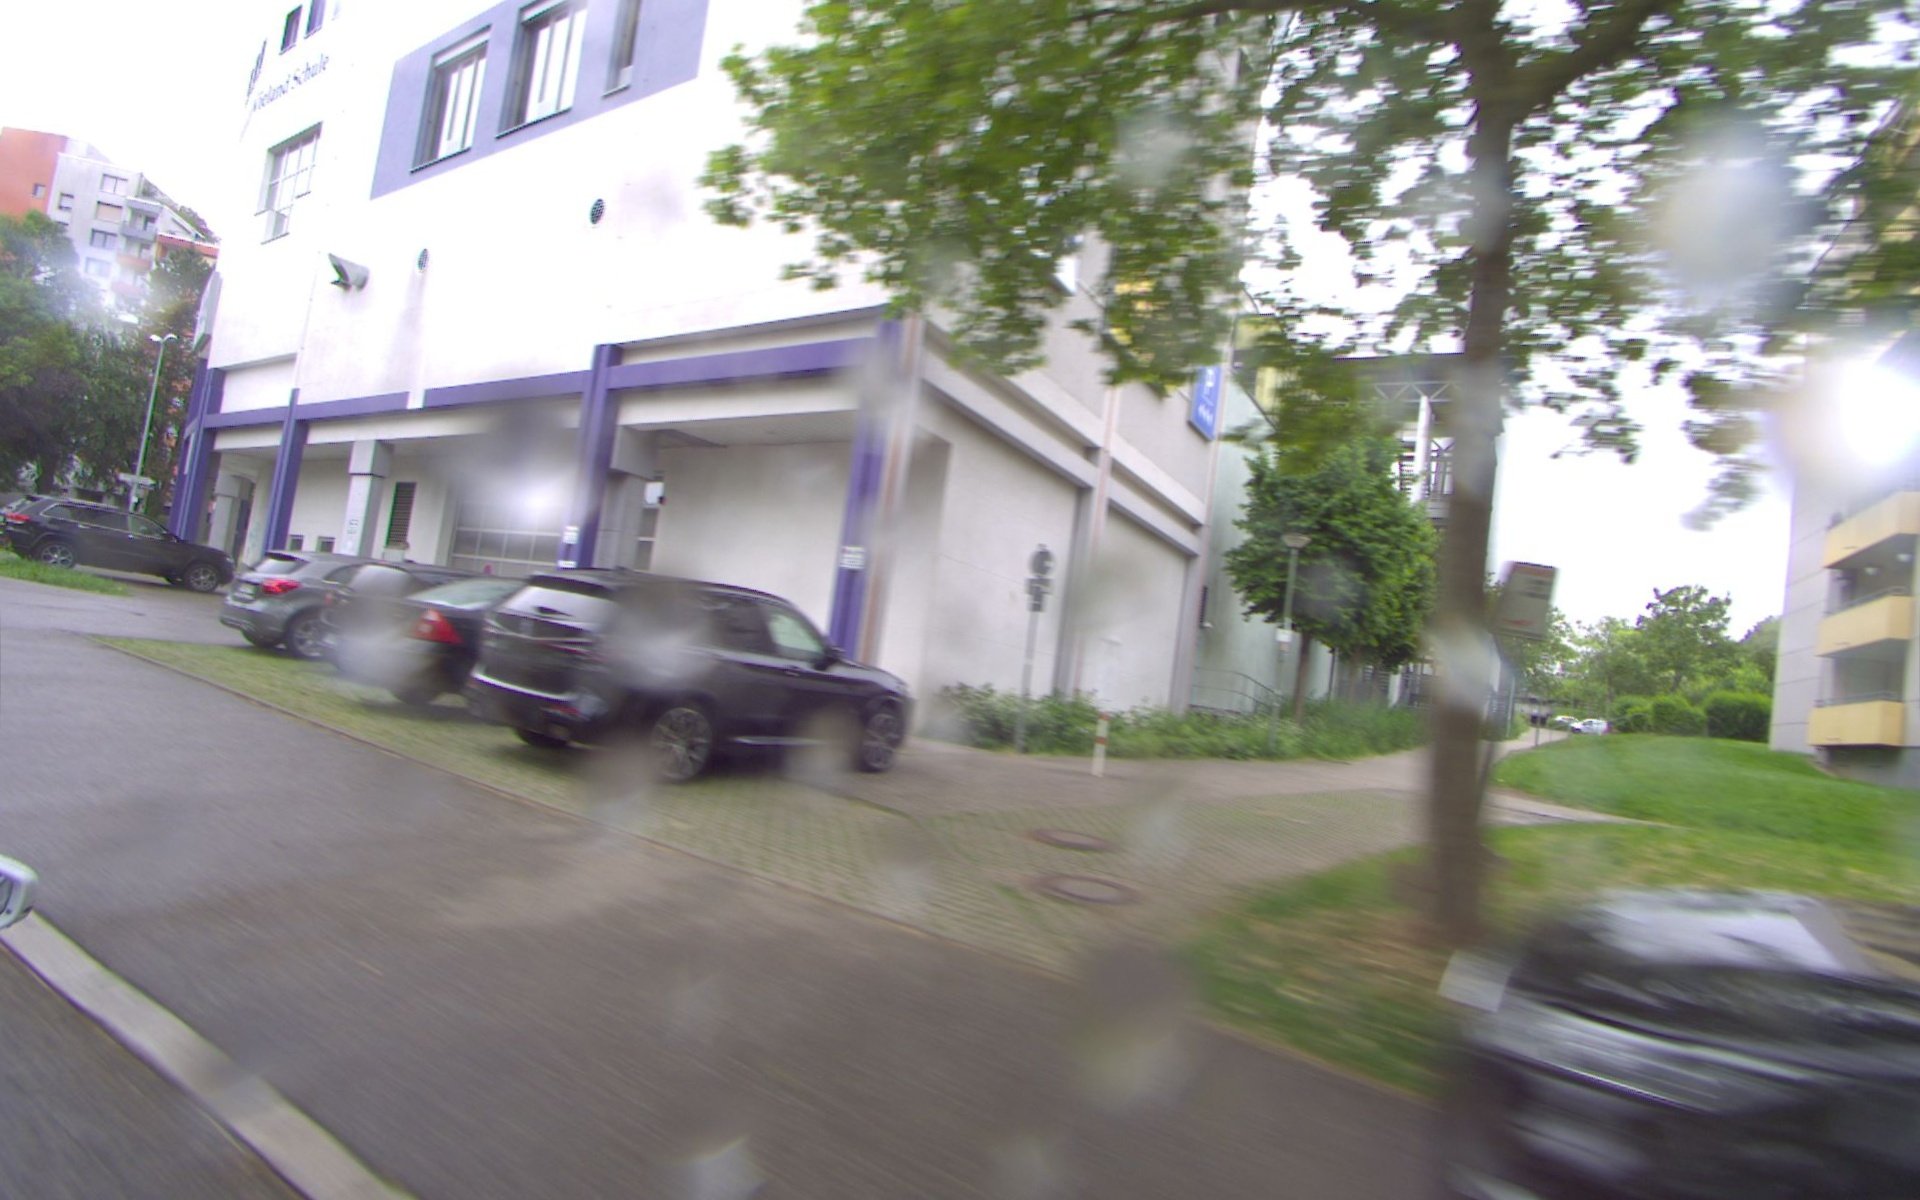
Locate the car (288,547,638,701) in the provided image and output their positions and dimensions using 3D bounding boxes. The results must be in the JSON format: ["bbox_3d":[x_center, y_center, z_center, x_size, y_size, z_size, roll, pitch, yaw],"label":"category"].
[{"bbox_3d":[-6.326,0.396,13.172,1.693,1.468,3.624,6,-4,33],"label":"car"}]

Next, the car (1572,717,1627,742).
[{"bbox_3d":[72.572,14.685,114.284,5.094,2.035,1.999,6,-3,32],"label":"car"}]

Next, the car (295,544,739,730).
[{"bbox_3d":[-4.555,0.523,11.033,1.693,1.494,4.118,6,-4,31],"label":"car"}]

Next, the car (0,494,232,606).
[{"bbox_3d":[-21.063,-1.193,24.905,1.800,1.777,4.388,9,-4,35],"label":"car"}]

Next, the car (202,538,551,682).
[{"bbox_3d":[-8.334,0.225,14.694,1.695,1.468,3.943,6,-4,37],"label":"car"}]

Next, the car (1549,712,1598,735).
[{"bbox_3d":[72.857,14.724,119.616,4.762,1.938,1.999,6,-3,32],"label":"car"}]

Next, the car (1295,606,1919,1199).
[{"bbox_3d":[2.986,1.118,1.678,4.297,1.620,1.806,6,-2,30],"label":"car"}]

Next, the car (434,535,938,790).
[{"bbox_3d":[-2.229,0.699,9.547,1.738,1.698,4.483,8,-3,31],"label":"car"}]
